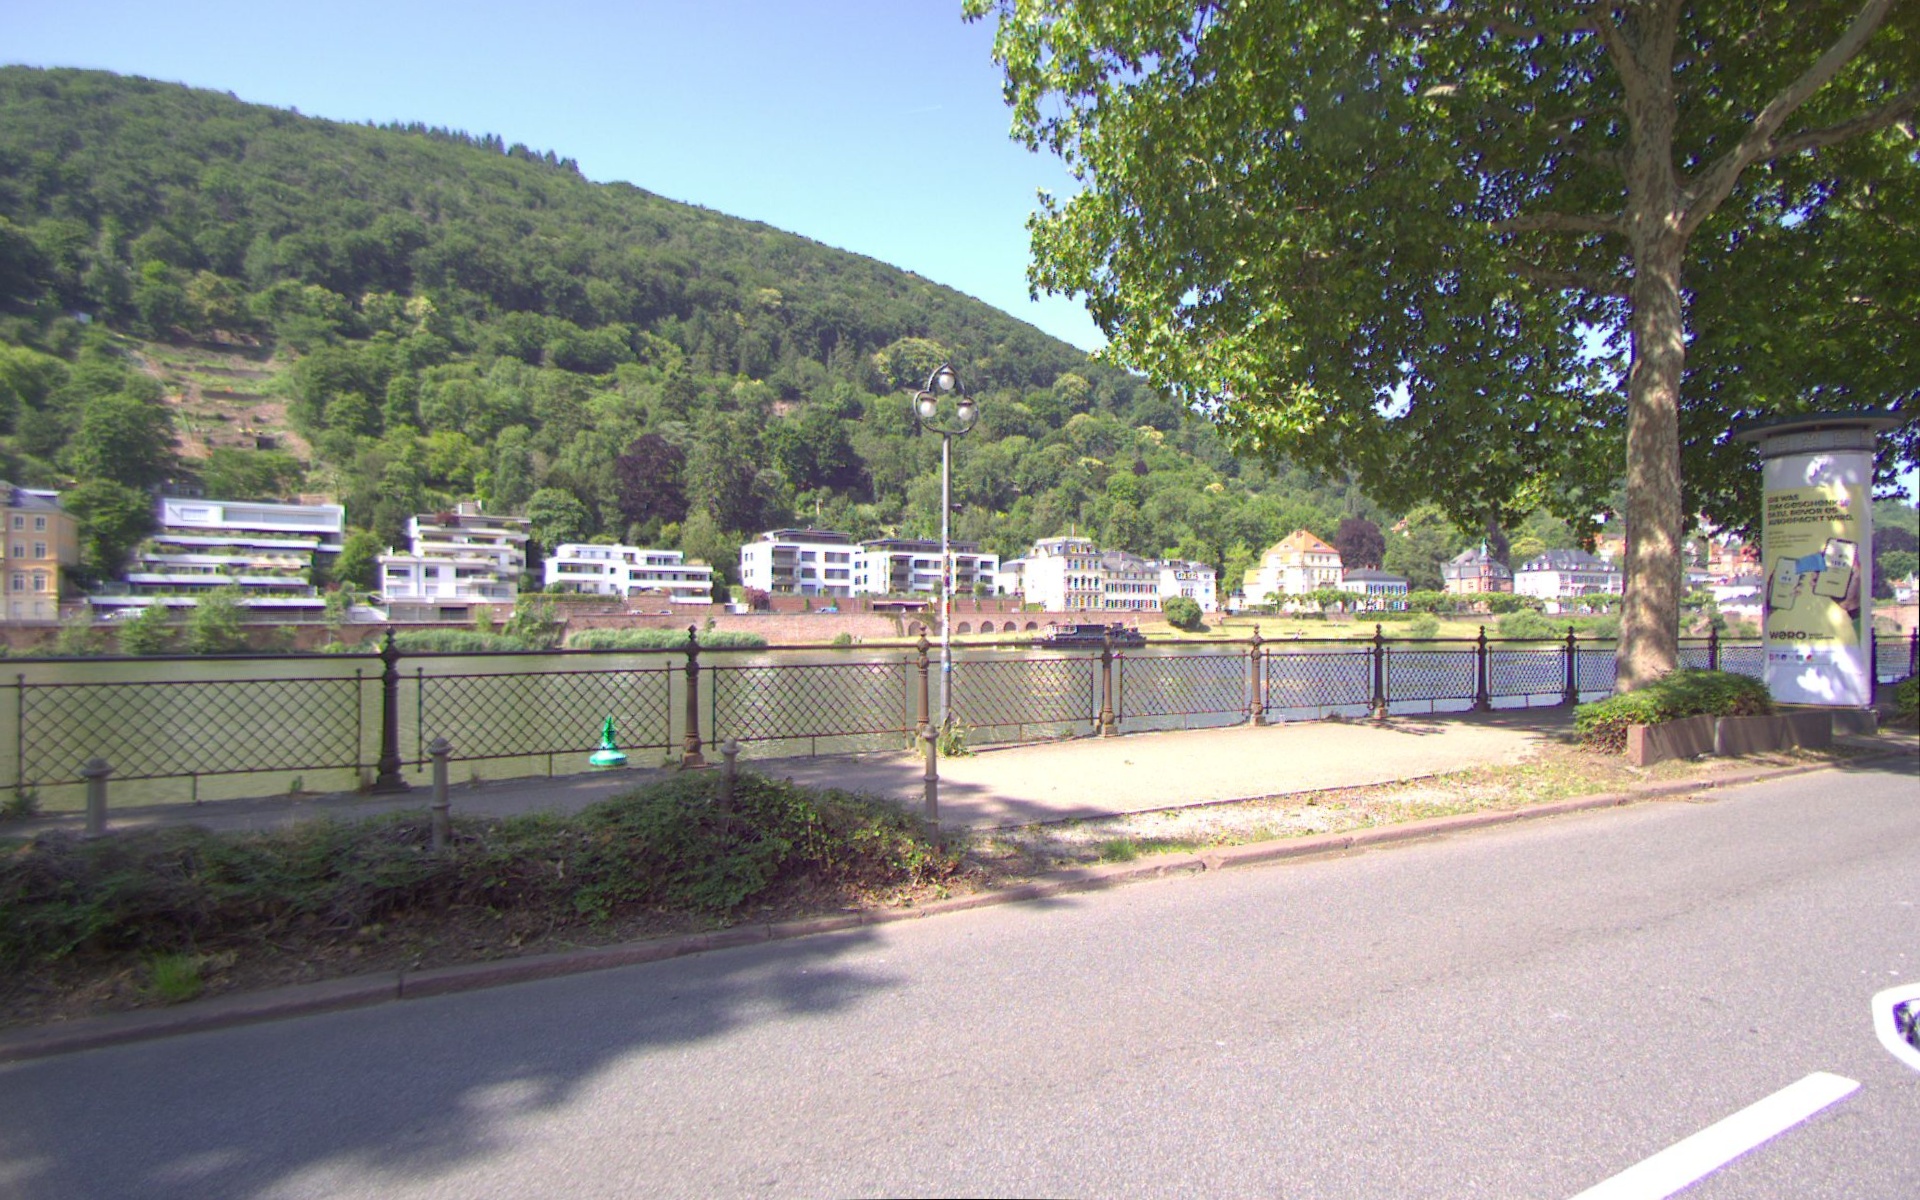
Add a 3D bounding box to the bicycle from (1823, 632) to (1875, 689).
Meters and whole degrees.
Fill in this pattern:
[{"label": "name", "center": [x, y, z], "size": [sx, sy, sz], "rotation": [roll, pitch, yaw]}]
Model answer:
[{"label": "bicycle", "center": [19.349, 1.299, 21.847], "size": [1.806, 1.177, 0.355], "rotation": [1, 1, -33]}]
